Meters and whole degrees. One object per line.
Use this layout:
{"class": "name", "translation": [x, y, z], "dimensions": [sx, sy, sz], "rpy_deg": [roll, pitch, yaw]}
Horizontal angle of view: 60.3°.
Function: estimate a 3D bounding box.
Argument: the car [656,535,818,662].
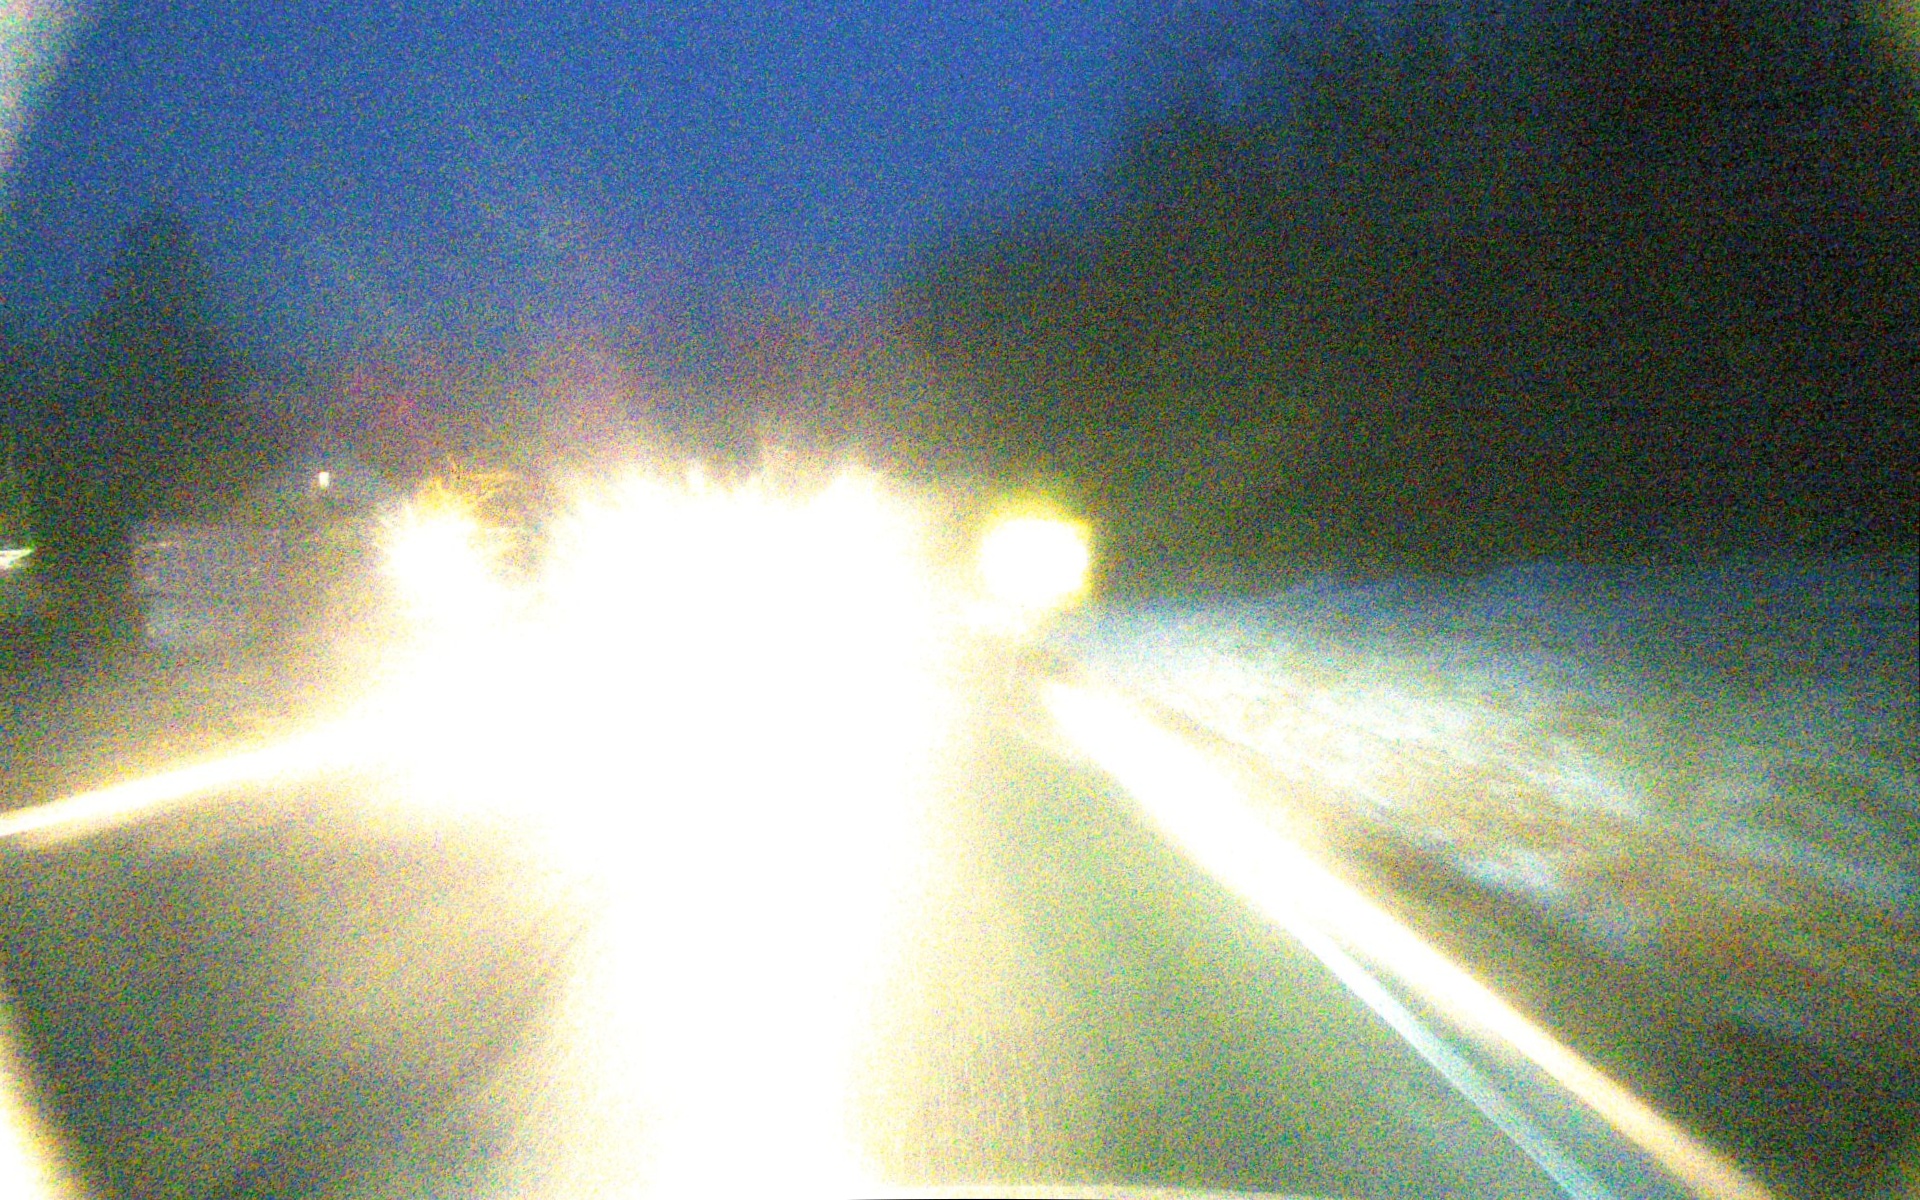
{"class": "car", "translation": [-4.471, 0.003, 34.312], "dimensions": [2.697, 2.308, 6.258], "rpy_deg": [-2, -1, -3]}
